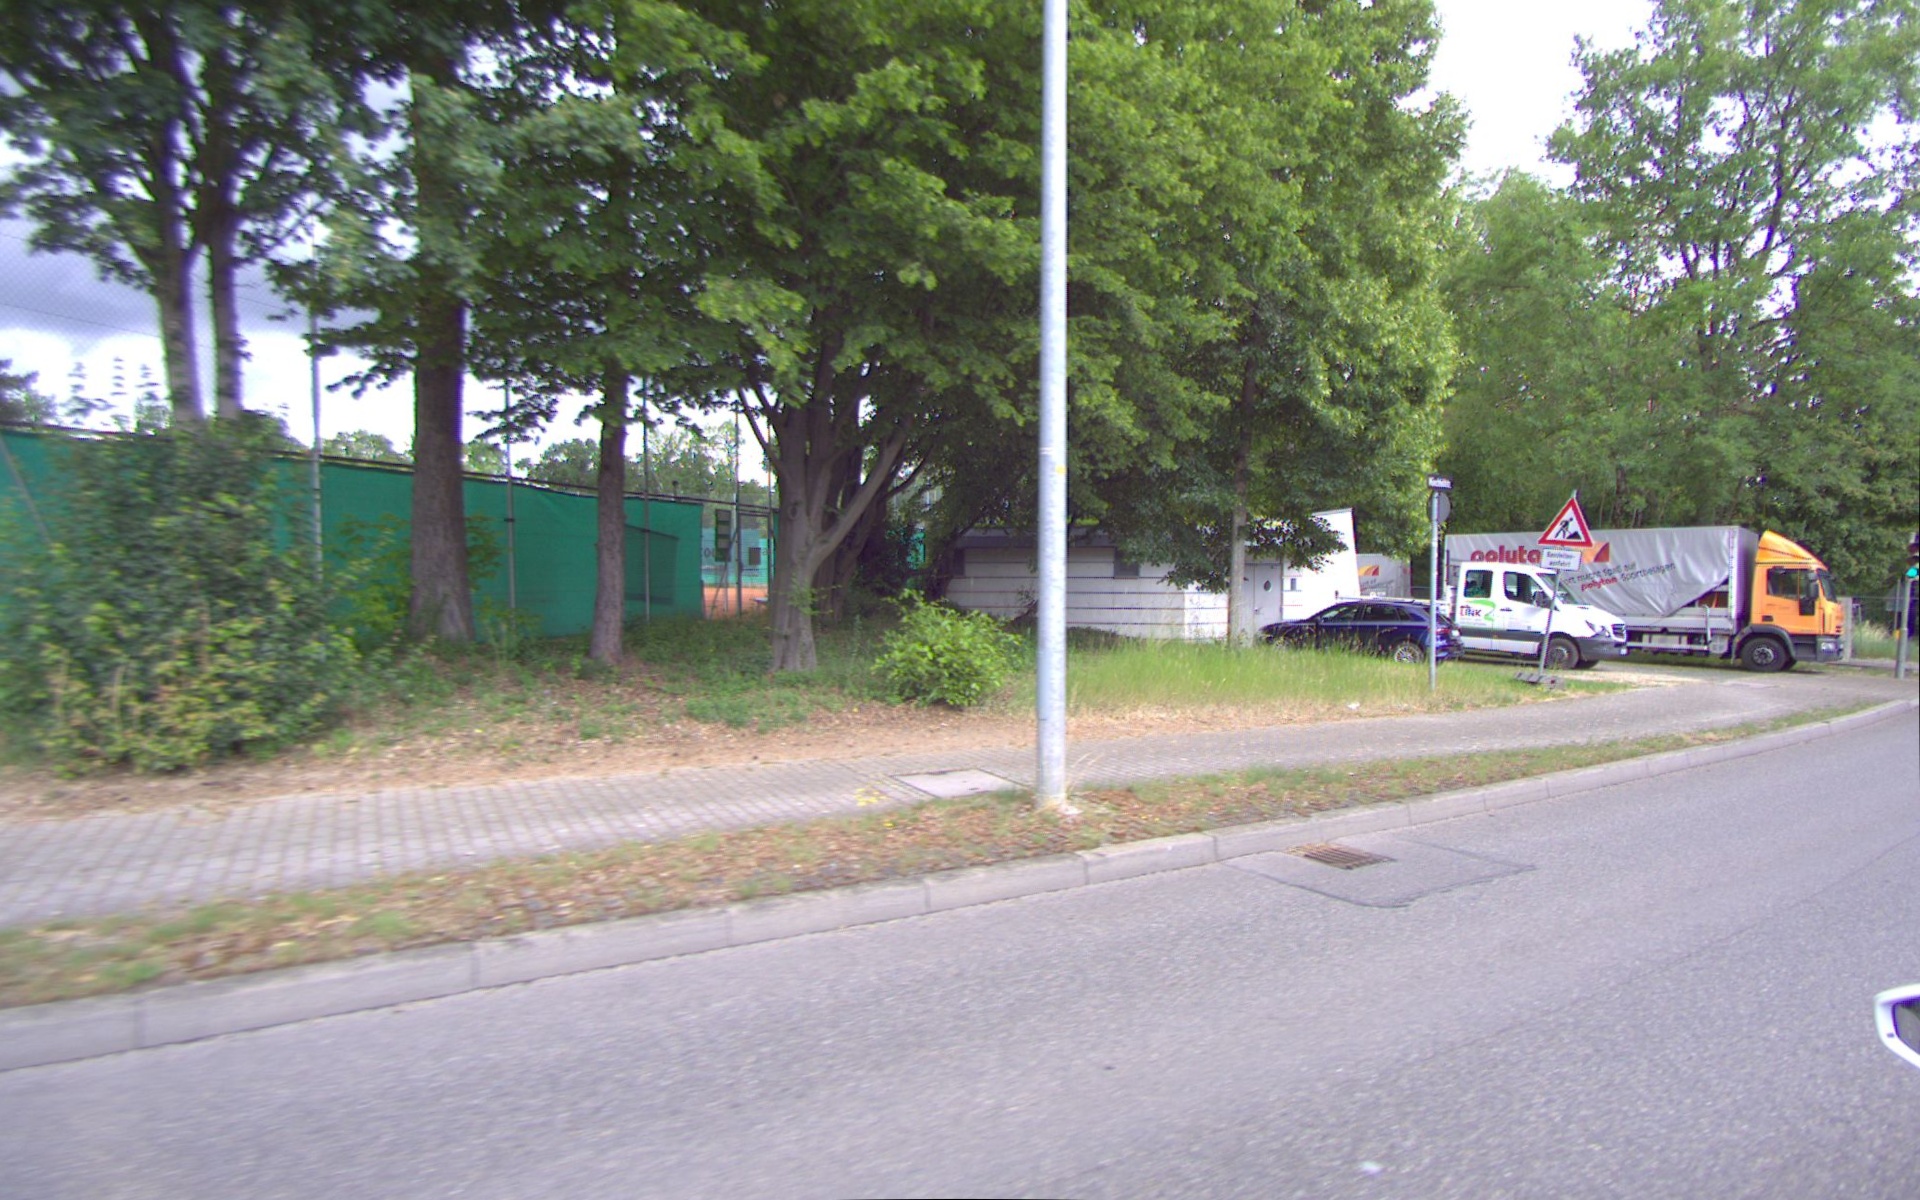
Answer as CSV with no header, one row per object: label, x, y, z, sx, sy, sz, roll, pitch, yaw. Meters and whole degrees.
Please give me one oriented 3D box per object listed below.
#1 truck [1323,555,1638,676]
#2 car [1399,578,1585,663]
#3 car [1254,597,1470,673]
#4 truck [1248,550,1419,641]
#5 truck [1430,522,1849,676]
truck,12.313,0.251,24.245,2.109,2.448,6.323,2,2,-44
car,14.075,0.476,26.735,1.769,1.935,3.948,0,3,-43
car,8.540,0.712,21.506,3.940,1.344,1.709,3,-1,41
truck,14.336,-0.231,38.651,5.811,3.243,2.448,1,2,31
truck,18.183,-0.136,27.682,2.546,3.578,9.147,1,1,-41
